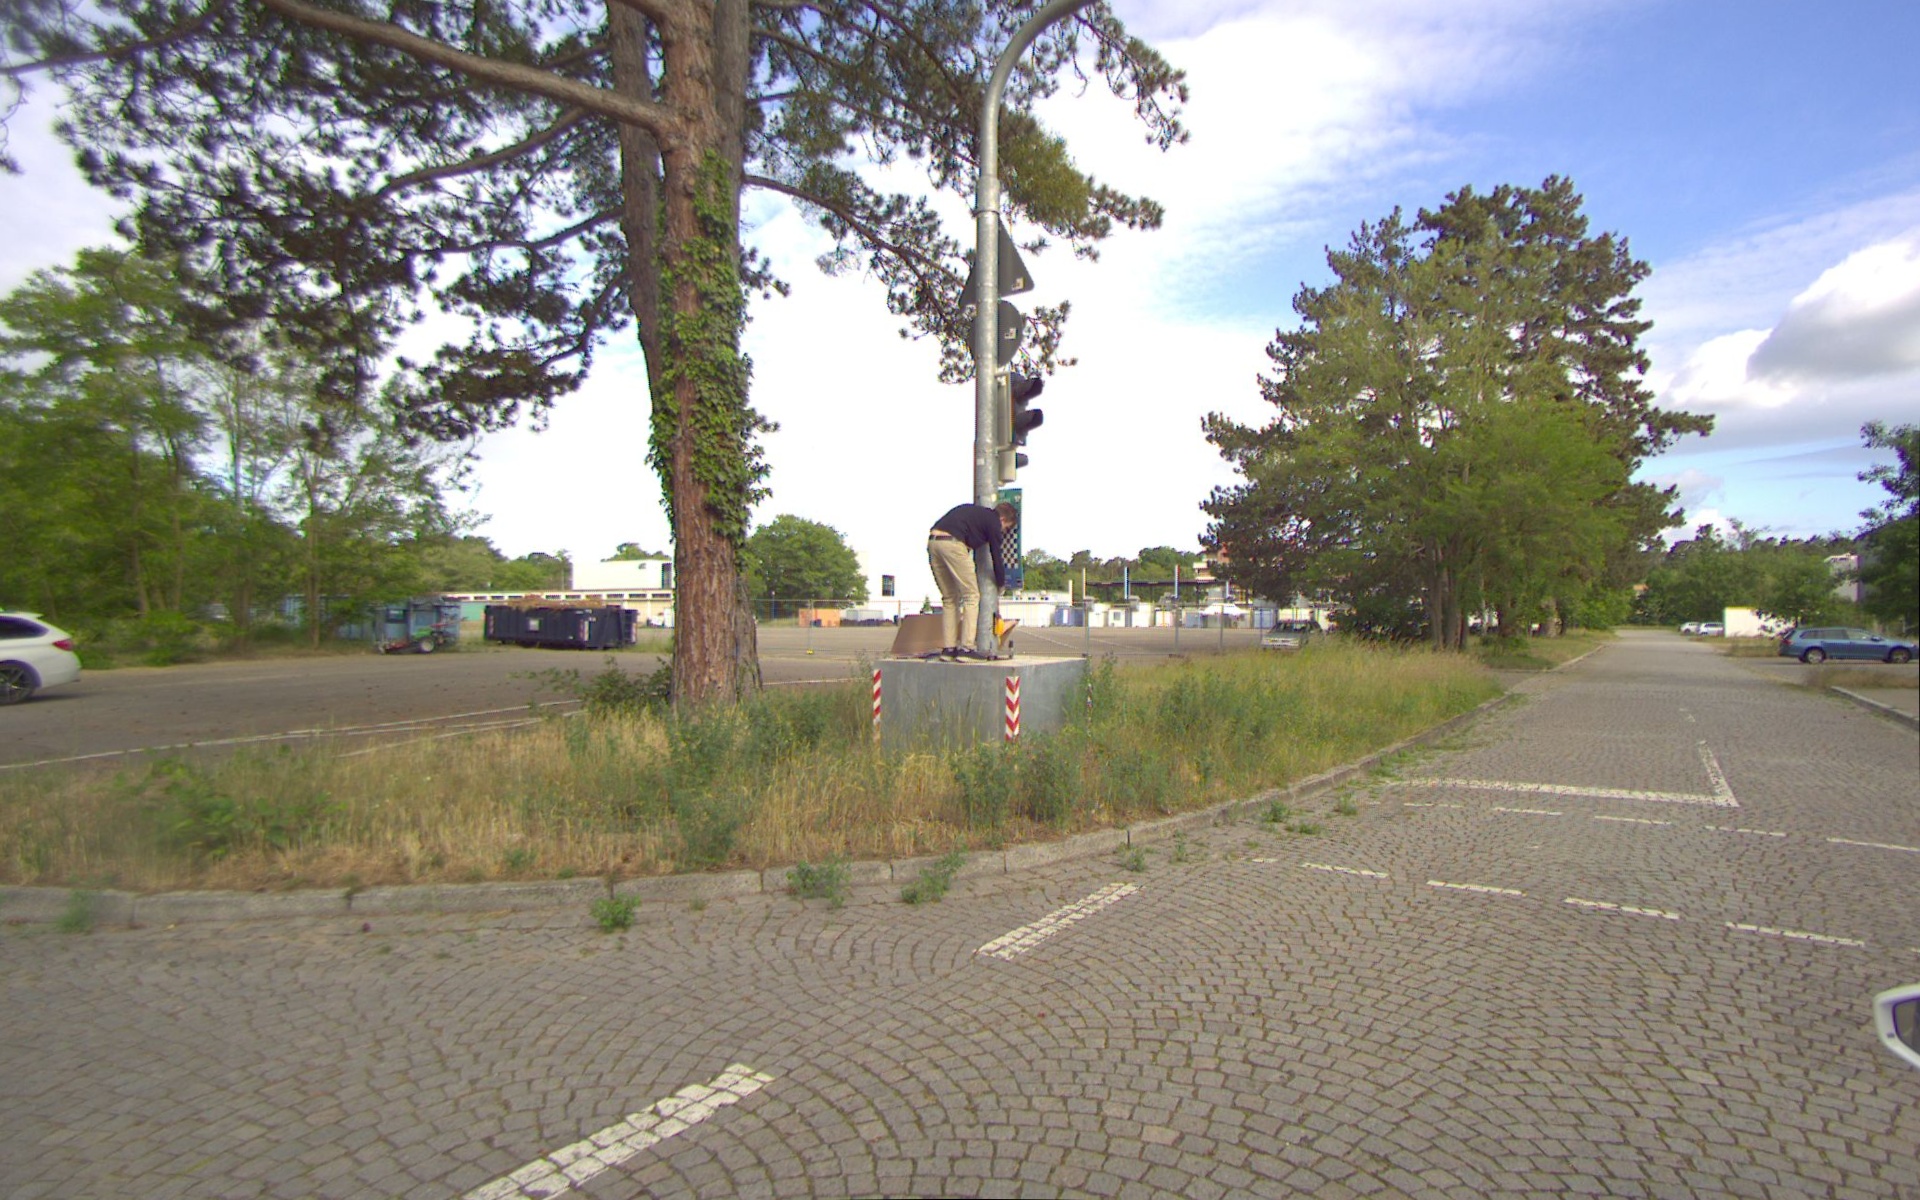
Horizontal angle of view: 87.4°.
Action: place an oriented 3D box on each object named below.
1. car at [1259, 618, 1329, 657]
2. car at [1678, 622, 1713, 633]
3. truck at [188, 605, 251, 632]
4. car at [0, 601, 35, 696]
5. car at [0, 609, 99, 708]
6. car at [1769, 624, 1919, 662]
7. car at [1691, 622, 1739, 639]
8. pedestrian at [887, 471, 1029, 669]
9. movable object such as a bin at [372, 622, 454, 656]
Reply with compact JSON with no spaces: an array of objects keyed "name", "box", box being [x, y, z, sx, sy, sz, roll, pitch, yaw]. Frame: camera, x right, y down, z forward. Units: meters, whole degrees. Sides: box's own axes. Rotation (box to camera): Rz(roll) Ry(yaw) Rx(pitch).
[{"name":"car","box":[13.308,1.435,39.865,1.691,1.457,4.456,0,-1,32]},{"name":"car","box":[102.784,3.798,140.388,3.973,1.522,1.543,0,-1,36]},{"name":"truck","box":[-63.519,1.586,86.136,6.445,2.227,2.367,0,-1,34]},{"name":"car","box":[-18.074,0.862,16.010,1.809,1.599,4.573,0,1,32]},{"name":"car","box":[-15.866,0.916,14.691,1.809,1.470,4.644,0,1,32]},{"name":"car","box":[36.293,1.758,41.291,4.458,1.462,1.819,-2,-2,32]},{"name":"car","box":[76.904,3.050,102.352,3.795,1.676,1.682,0,-1,32]},{"name":"pedestrian","box":[-0.019,-0.224,8.364,0.815,1.538,0.874,1,-1,-41]},{"name":"movable object such as a bin","box":[-16.337,1.152,30.045,1.022,0.945,1.933,-1,-1,27]}]
